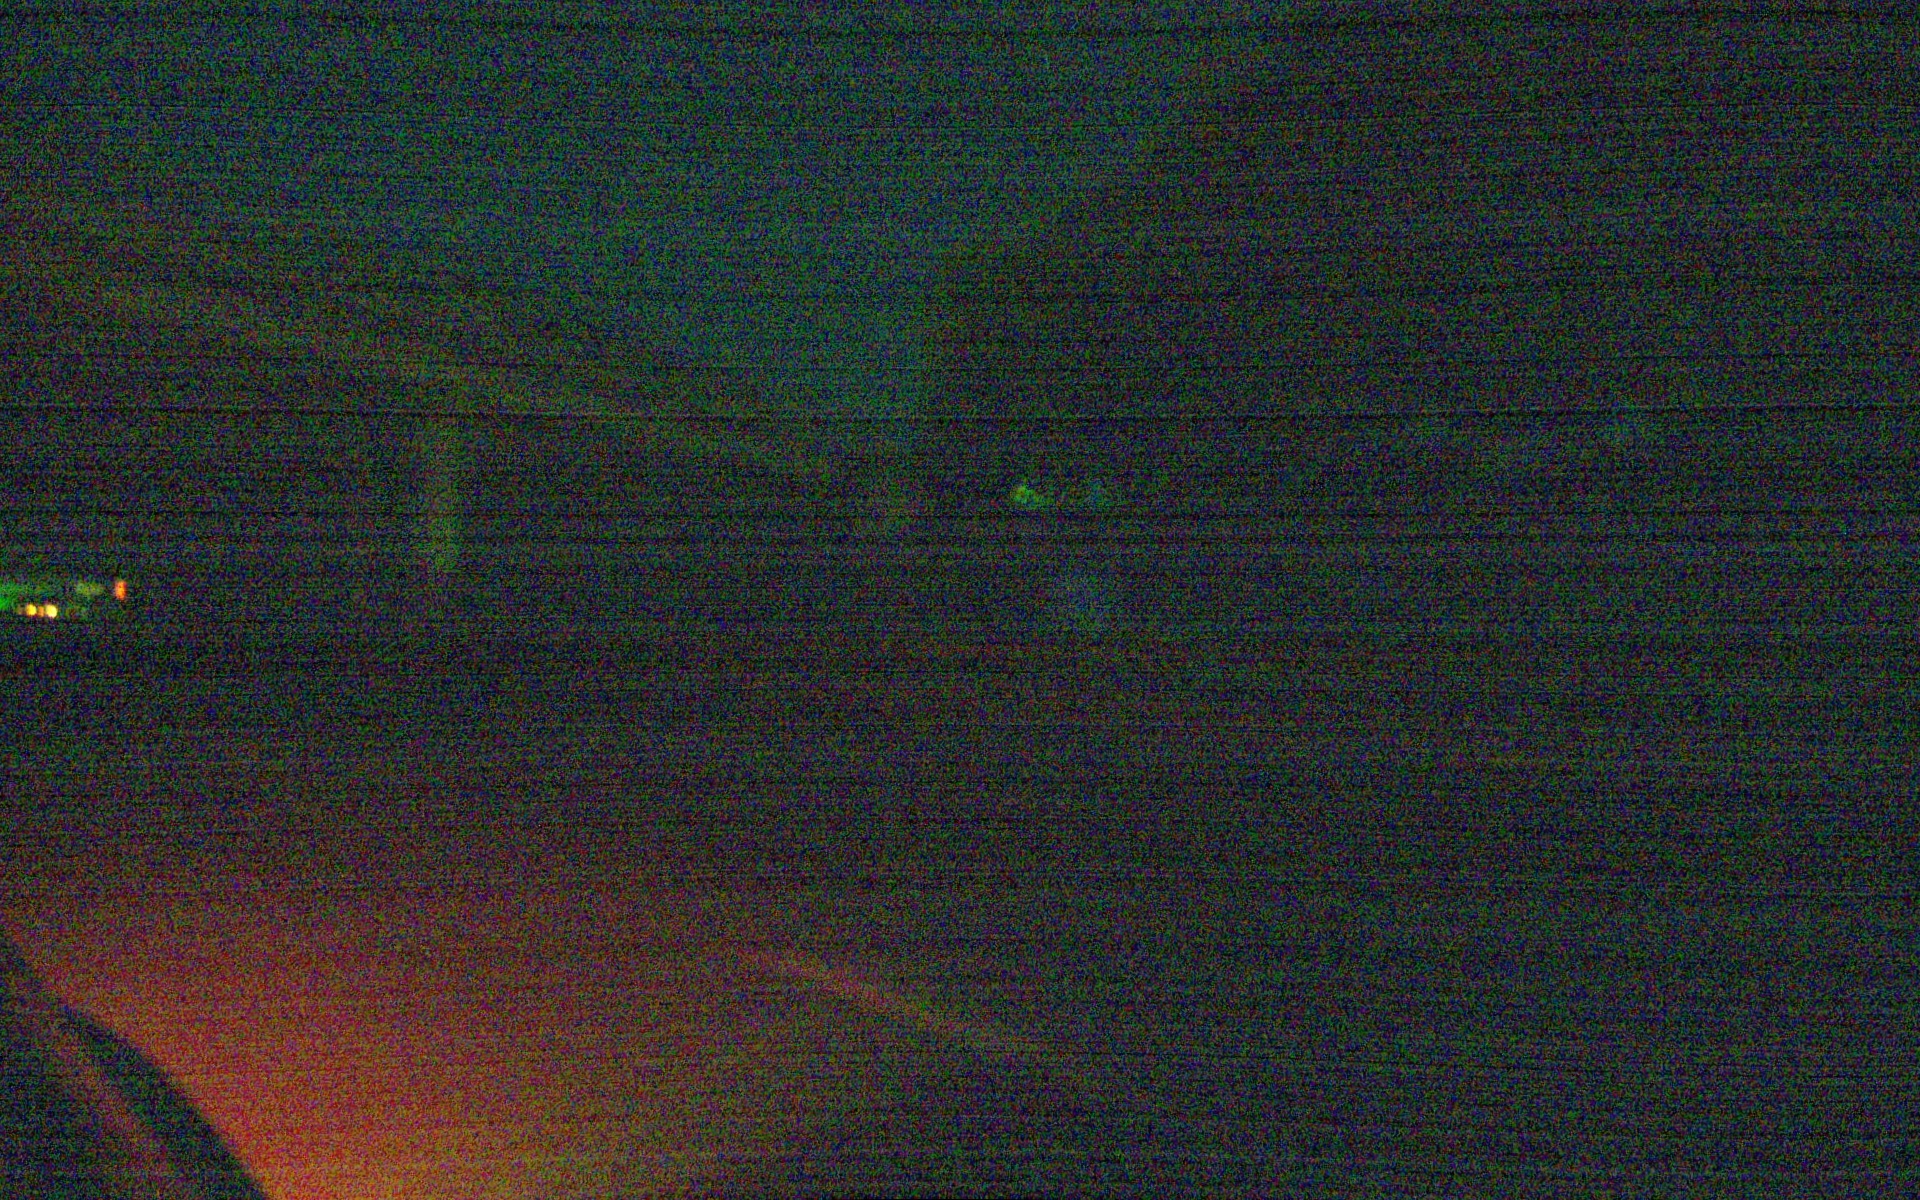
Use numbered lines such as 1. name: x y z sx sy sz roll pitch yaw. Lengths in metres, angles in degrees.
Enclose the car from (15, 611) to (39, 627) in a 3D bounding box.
1. car: -124.263 2.502 134.796 4.608 2.029 1.972 0 0 42
